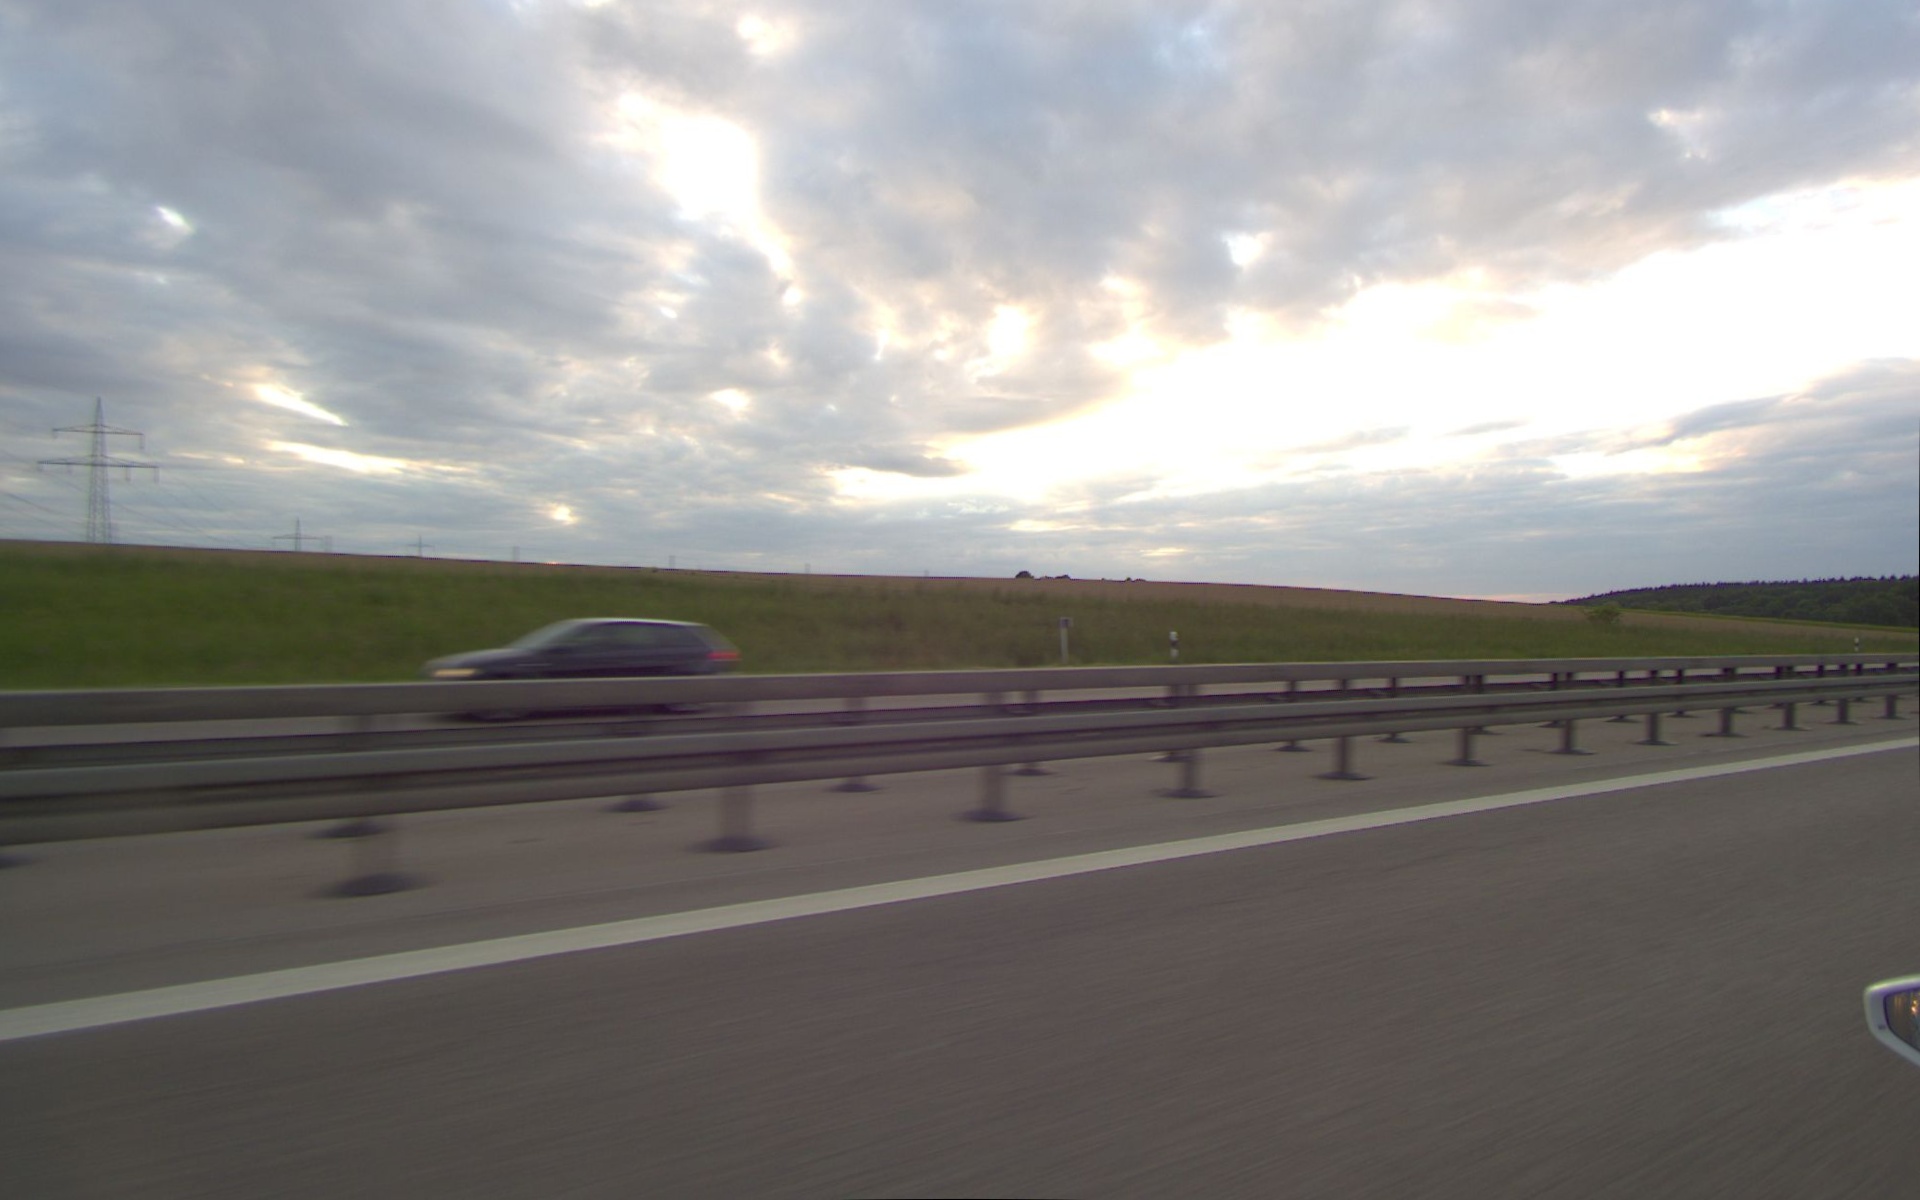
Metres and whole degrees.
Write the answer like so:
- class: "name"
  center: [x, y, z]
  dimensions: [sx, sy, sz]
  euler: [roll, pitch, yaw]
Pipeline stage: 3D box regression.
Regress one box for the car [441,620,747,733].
- class: "car"
  center: [-5.322, 1.035, 14.728]
  dimensions: [3.965, 1.379, 1.664]
  euler: [1, 2, -32]
